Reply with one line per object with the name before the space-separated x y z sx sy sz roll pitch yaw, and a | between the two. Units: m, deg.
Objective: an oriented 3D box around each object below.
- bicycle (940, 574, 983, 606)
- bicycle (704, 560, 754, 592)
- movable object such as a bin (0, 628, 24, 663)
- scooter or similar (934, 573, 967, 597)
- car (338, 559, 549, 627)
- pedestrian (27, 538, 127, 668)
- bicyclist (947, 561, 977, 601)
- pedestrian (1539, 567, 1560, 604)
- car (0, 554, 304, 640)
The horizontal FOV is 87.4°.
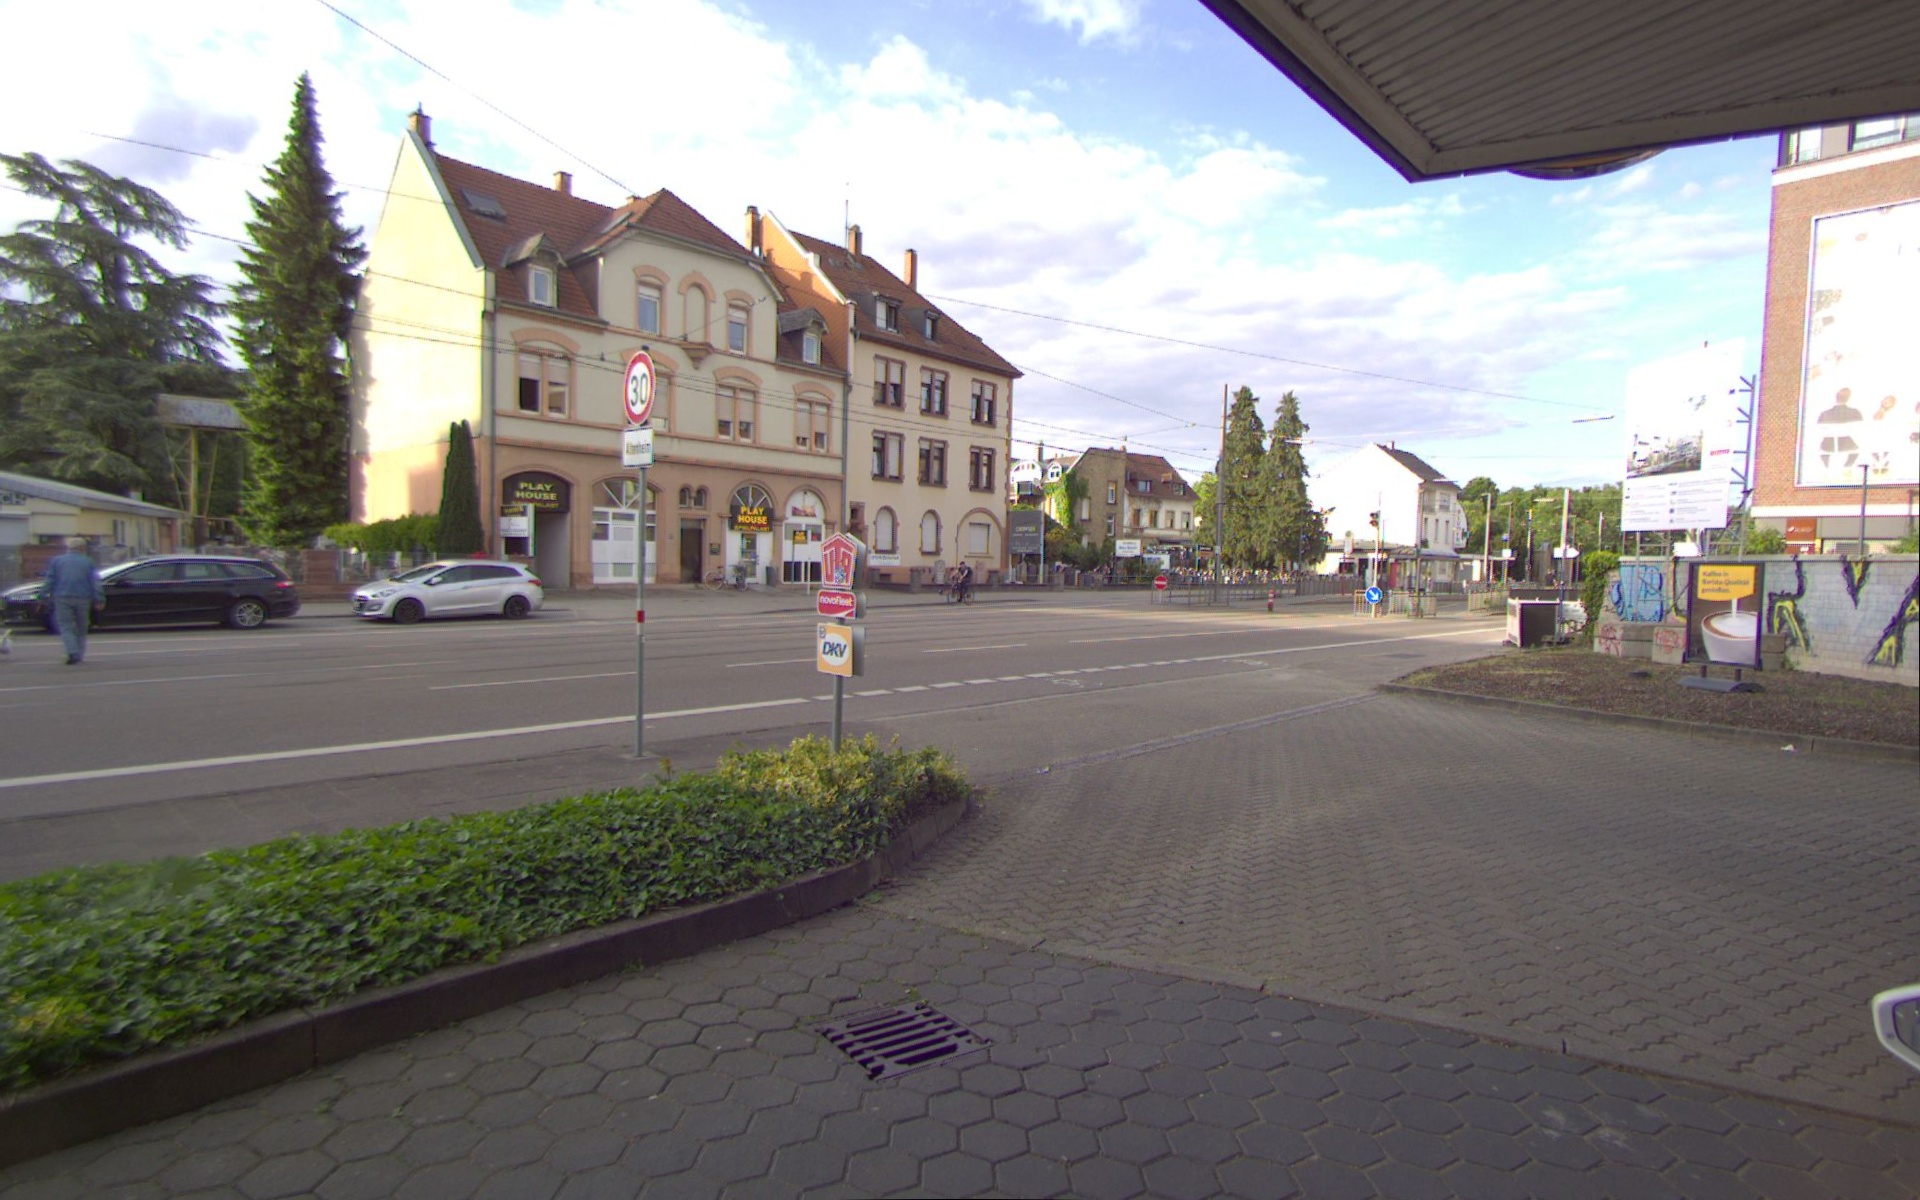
bicycle | 0.076 -0.410 39.612 0.670 1.239 1.911 1 2 37
bicycle | -9.103 -0.945 39.613 0.665 1.229 1.862 4 2 41
movable object such as a bin | -13.388 0.632 13.966 0.670 0.426 0.478 4 3 40
scooter or similar | -0.433 -0.655 45.114 0.461 1.041 1.655 4 3 40
car | -12.916 -0.228 25.359 1.699 1.503 4.434 4 4 40
pedestrian | -12.107 0.018 13.797 0.996 1.690 0.959 0 3 -42
bicyclist | 0.087 -0.756 39.602 0.670 1.555 1.081 1 2 37
pedestrian | 32.697 -0.794 55.700 0.797 2.040 0.845 2 0 44
car | -16.596 -0.133 20.736 1.983 1.520 4.755 4 4 39
